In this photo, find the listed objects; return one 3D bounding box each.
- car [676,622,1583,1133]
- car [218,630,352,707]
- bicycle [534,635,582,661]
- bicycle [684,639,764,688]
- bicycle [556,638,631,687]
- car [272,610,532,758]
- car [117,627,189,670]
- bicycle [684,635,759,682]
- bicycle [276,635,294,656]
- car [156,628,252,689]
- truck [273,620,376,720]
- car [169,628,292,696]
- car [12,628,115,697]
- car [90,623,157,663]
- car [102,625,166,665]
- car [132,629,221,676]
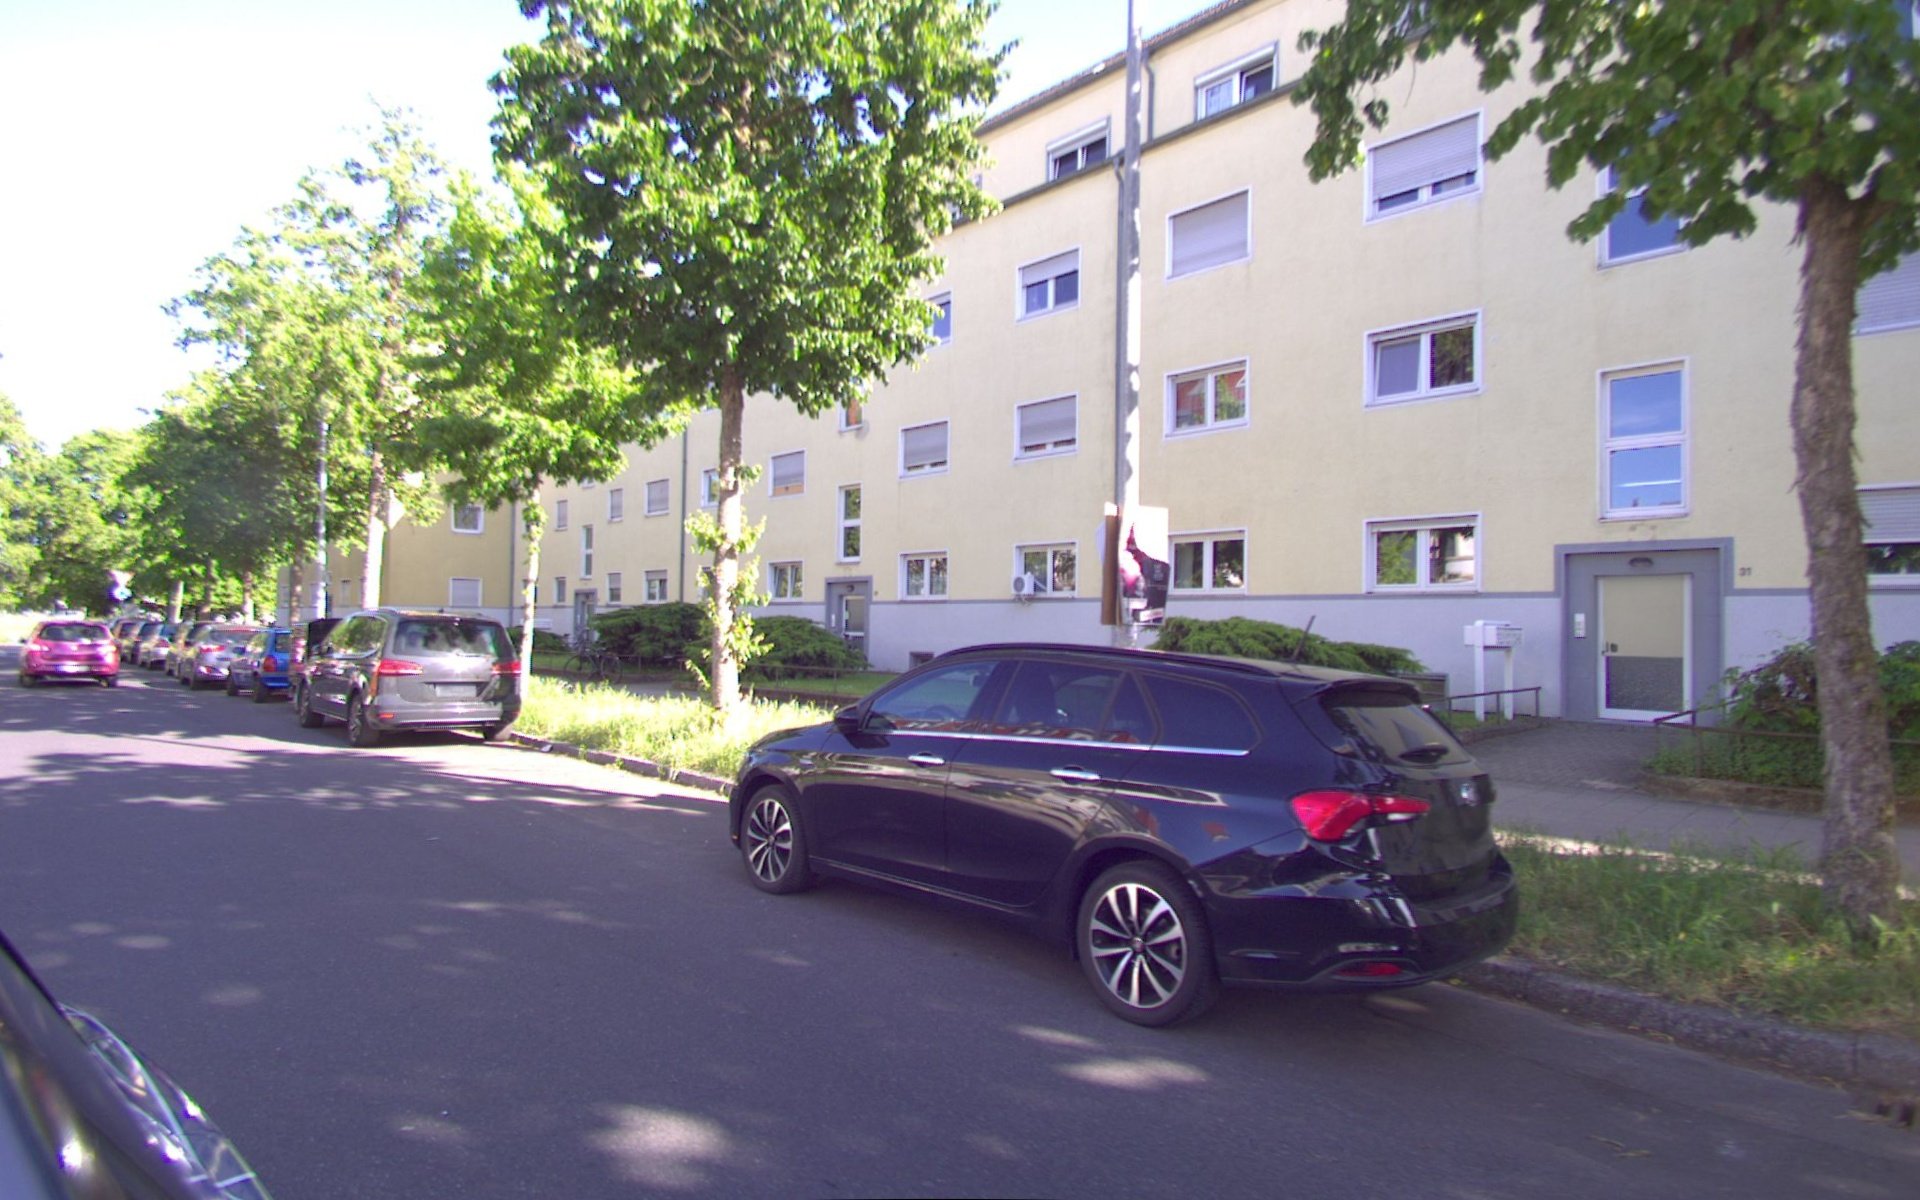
[{"bbox_3d":[0.386,0.942,5.381,1.490,1.560,4.782,6,-5,-44],"label":"car"},{"bbox_3d":[-13.697,1.327,20.455,3.729,1.406,1.503,-1,-3,45],"label":"car"},{"bbox_3d":[-14.823,1.767,37.329,0.480,0.938,1.616,-1,-3,38],"label":"bicycle"},{"bbox_3d":[-5.442,1.463,23.421,0.486,1.089,1.819,-1,-3,43],"label":"bicycle"},{"bbox_3d":[-8.703,1.473,23.990,1.833,1.089,0.483,0,0,23],"label":"bicycle"},{"bbox_3d":[-7.880,1.084,14.033,1.828,1.693,4.980,6,-5,-44],"label":"car"},{"bbox_3d":[-28.908,1.705,36.196,1.645,1.470,3.936,3,-3,-43],"label":"car"},{"bbox_3d":[-6.004,1.459,25.518,1.816,1.089,0.487,0,0,-41],"label":"bicycle"},{"bbox_3d":[-32.899,2.195,49.320,0.508,1.008,1.547,3,-3,-40],"label":"bicycle"},{"bbox_3d":[-20.959,1.578,27.991,1.601,1.527,4.273,6,-5,-43],"label":"car"},{"bbox_3d":[-10.995,1.163,17.468,1.071,1.589,2.435,3,-3,-42],"label":"truck"},{"bbox_3d":[-17.215,1.415,23.797,1.770,1.455,4.693,5,-4,-42],"label":"car"},{"bbox_3d":[-20.054,1.353,22.605,1.488,1.437,3.179,4,-4,-45],"label":"car"},{"bbox_3d":[-35.563,1.805,42.963,4.737,1.577,1.672,-2,-3,45],"label":"car"},{"bbox_3d":[-32.384,1.762,39.655,1.645,1.497,3.259,3,-3,-43],"label":"car"},{"bbox_3d":[-25.057,1.645,32.295,1.725,1.379,4.678,4,-4,-43],"label":"car"}]
